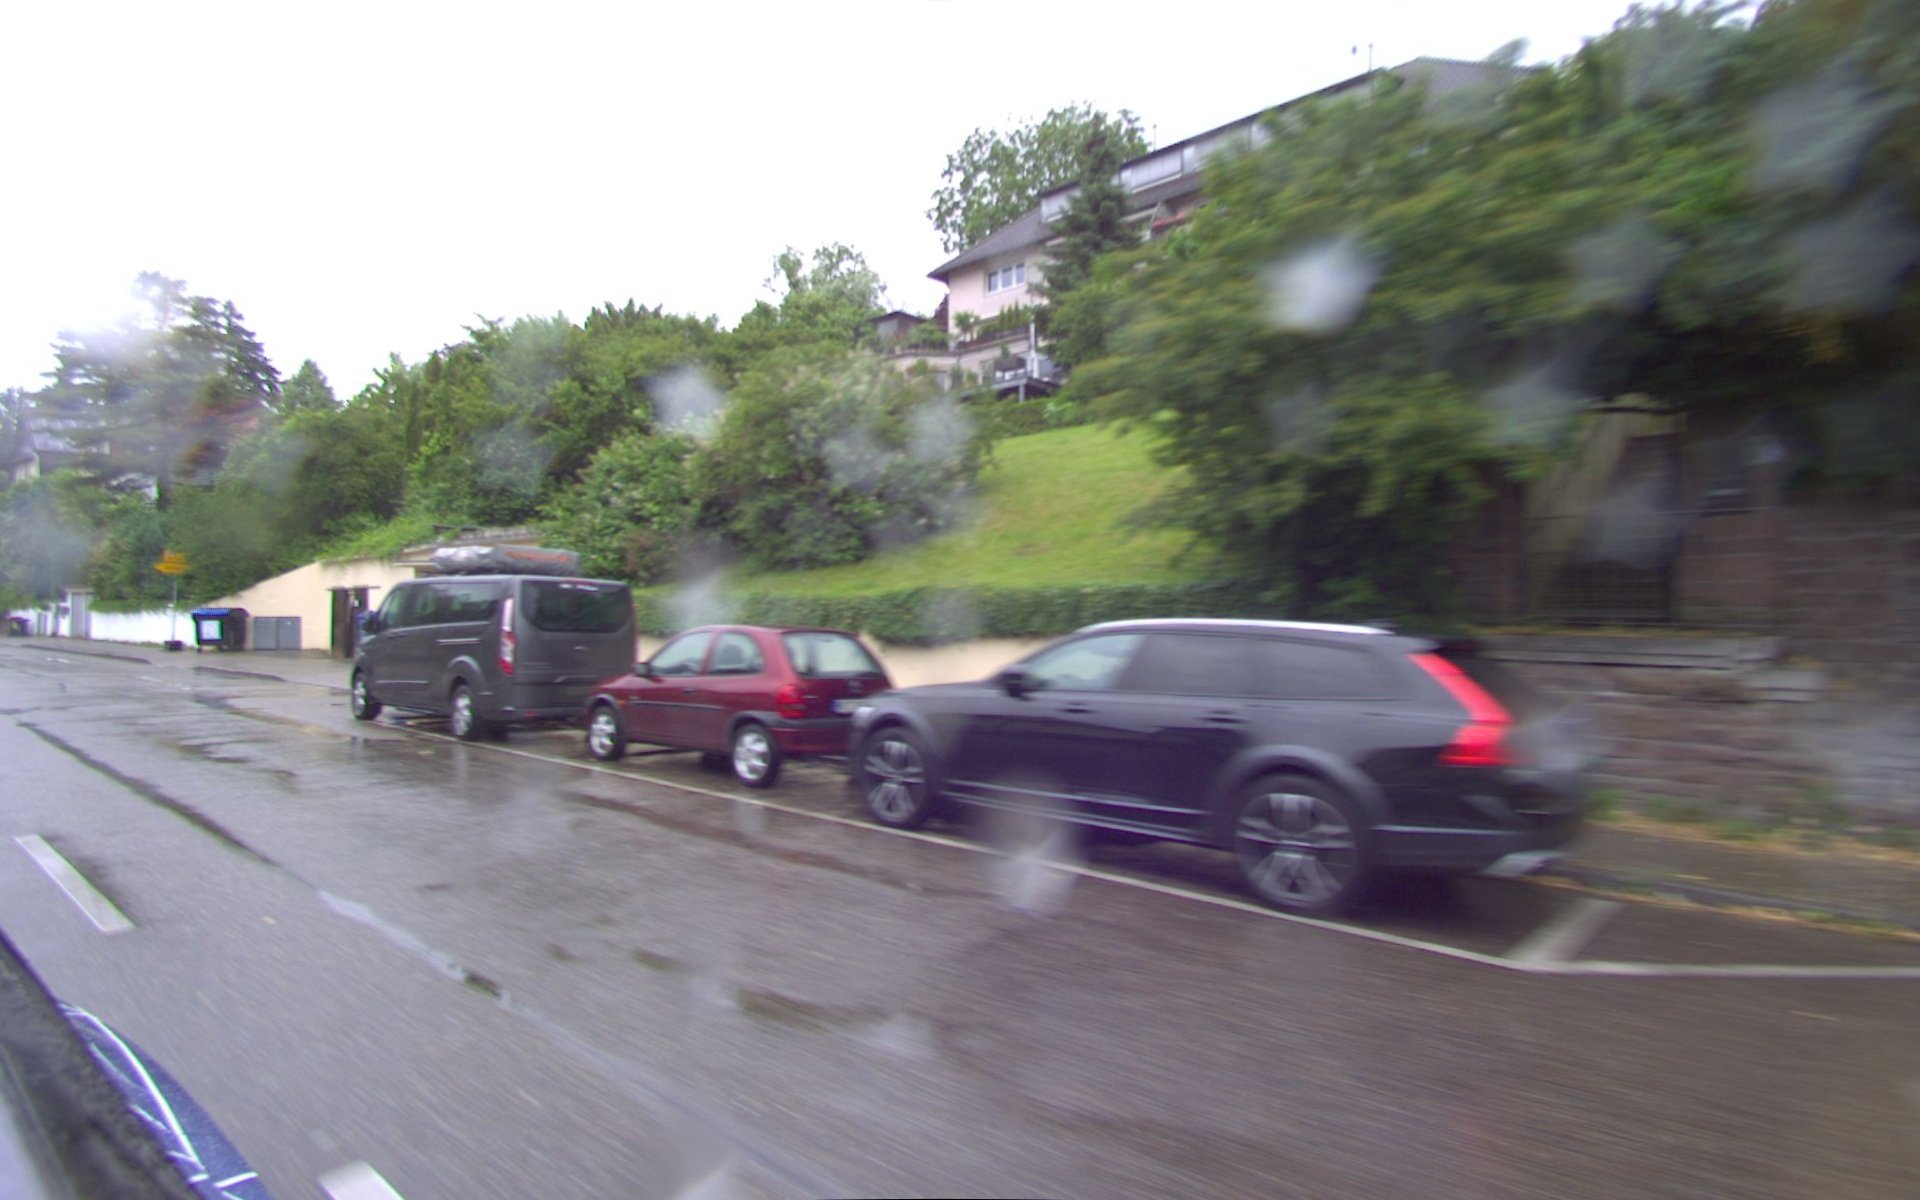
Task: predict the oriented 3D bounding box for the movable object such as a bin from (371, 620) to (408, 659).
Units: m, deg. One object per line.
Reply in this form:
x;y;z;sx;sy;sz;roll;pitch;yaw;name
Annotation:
-15.719;1.083;27.879;0.607;1.050;0.727;-1;0;44;movable object such as a bin

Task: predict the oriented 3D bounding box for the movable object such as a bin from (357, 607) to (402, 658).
-16.391;0.918;28.579;1.135;1.392;0.811;-2;-1;44;movable object such as a bin

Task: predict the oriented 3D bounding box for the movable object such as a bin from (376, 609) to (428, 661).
-14.902;0.918;27.026;1.402;1.324;0.811;-2;-1;44;movable object such as a bin

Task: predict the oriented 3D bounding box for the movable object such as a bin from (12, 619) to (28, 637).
-48.944;1.438;52.690;0.415;0.905;0.526;-1;0;36;movable object such as a bin

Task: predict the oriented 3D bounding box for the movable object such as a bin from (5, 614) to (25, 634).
-49.977;1.275;53.506;0.656;1.048;0.675;-1;0;36;movable object such as a bin

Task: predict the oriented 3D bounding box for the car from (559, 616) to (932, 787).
-2.249;0.871;10.051;3.904;1.375;1.548;-1;-3;40;car

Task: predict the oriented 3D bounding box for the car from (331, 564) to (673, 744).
-6.245;0.627;13.456;5.321;1.933;2.136;-1;-2;41;car

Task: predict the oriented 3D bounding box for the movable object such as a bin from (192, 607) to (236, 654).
-24.594;0.985;33.358;0.860;1.456;0.924;0;3;38;movable object such as a bin

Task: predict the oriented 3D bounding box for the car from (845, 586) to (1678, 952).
1.559;0.761;6.465;4.755;1.492;1.887;-1;-4;43;car
